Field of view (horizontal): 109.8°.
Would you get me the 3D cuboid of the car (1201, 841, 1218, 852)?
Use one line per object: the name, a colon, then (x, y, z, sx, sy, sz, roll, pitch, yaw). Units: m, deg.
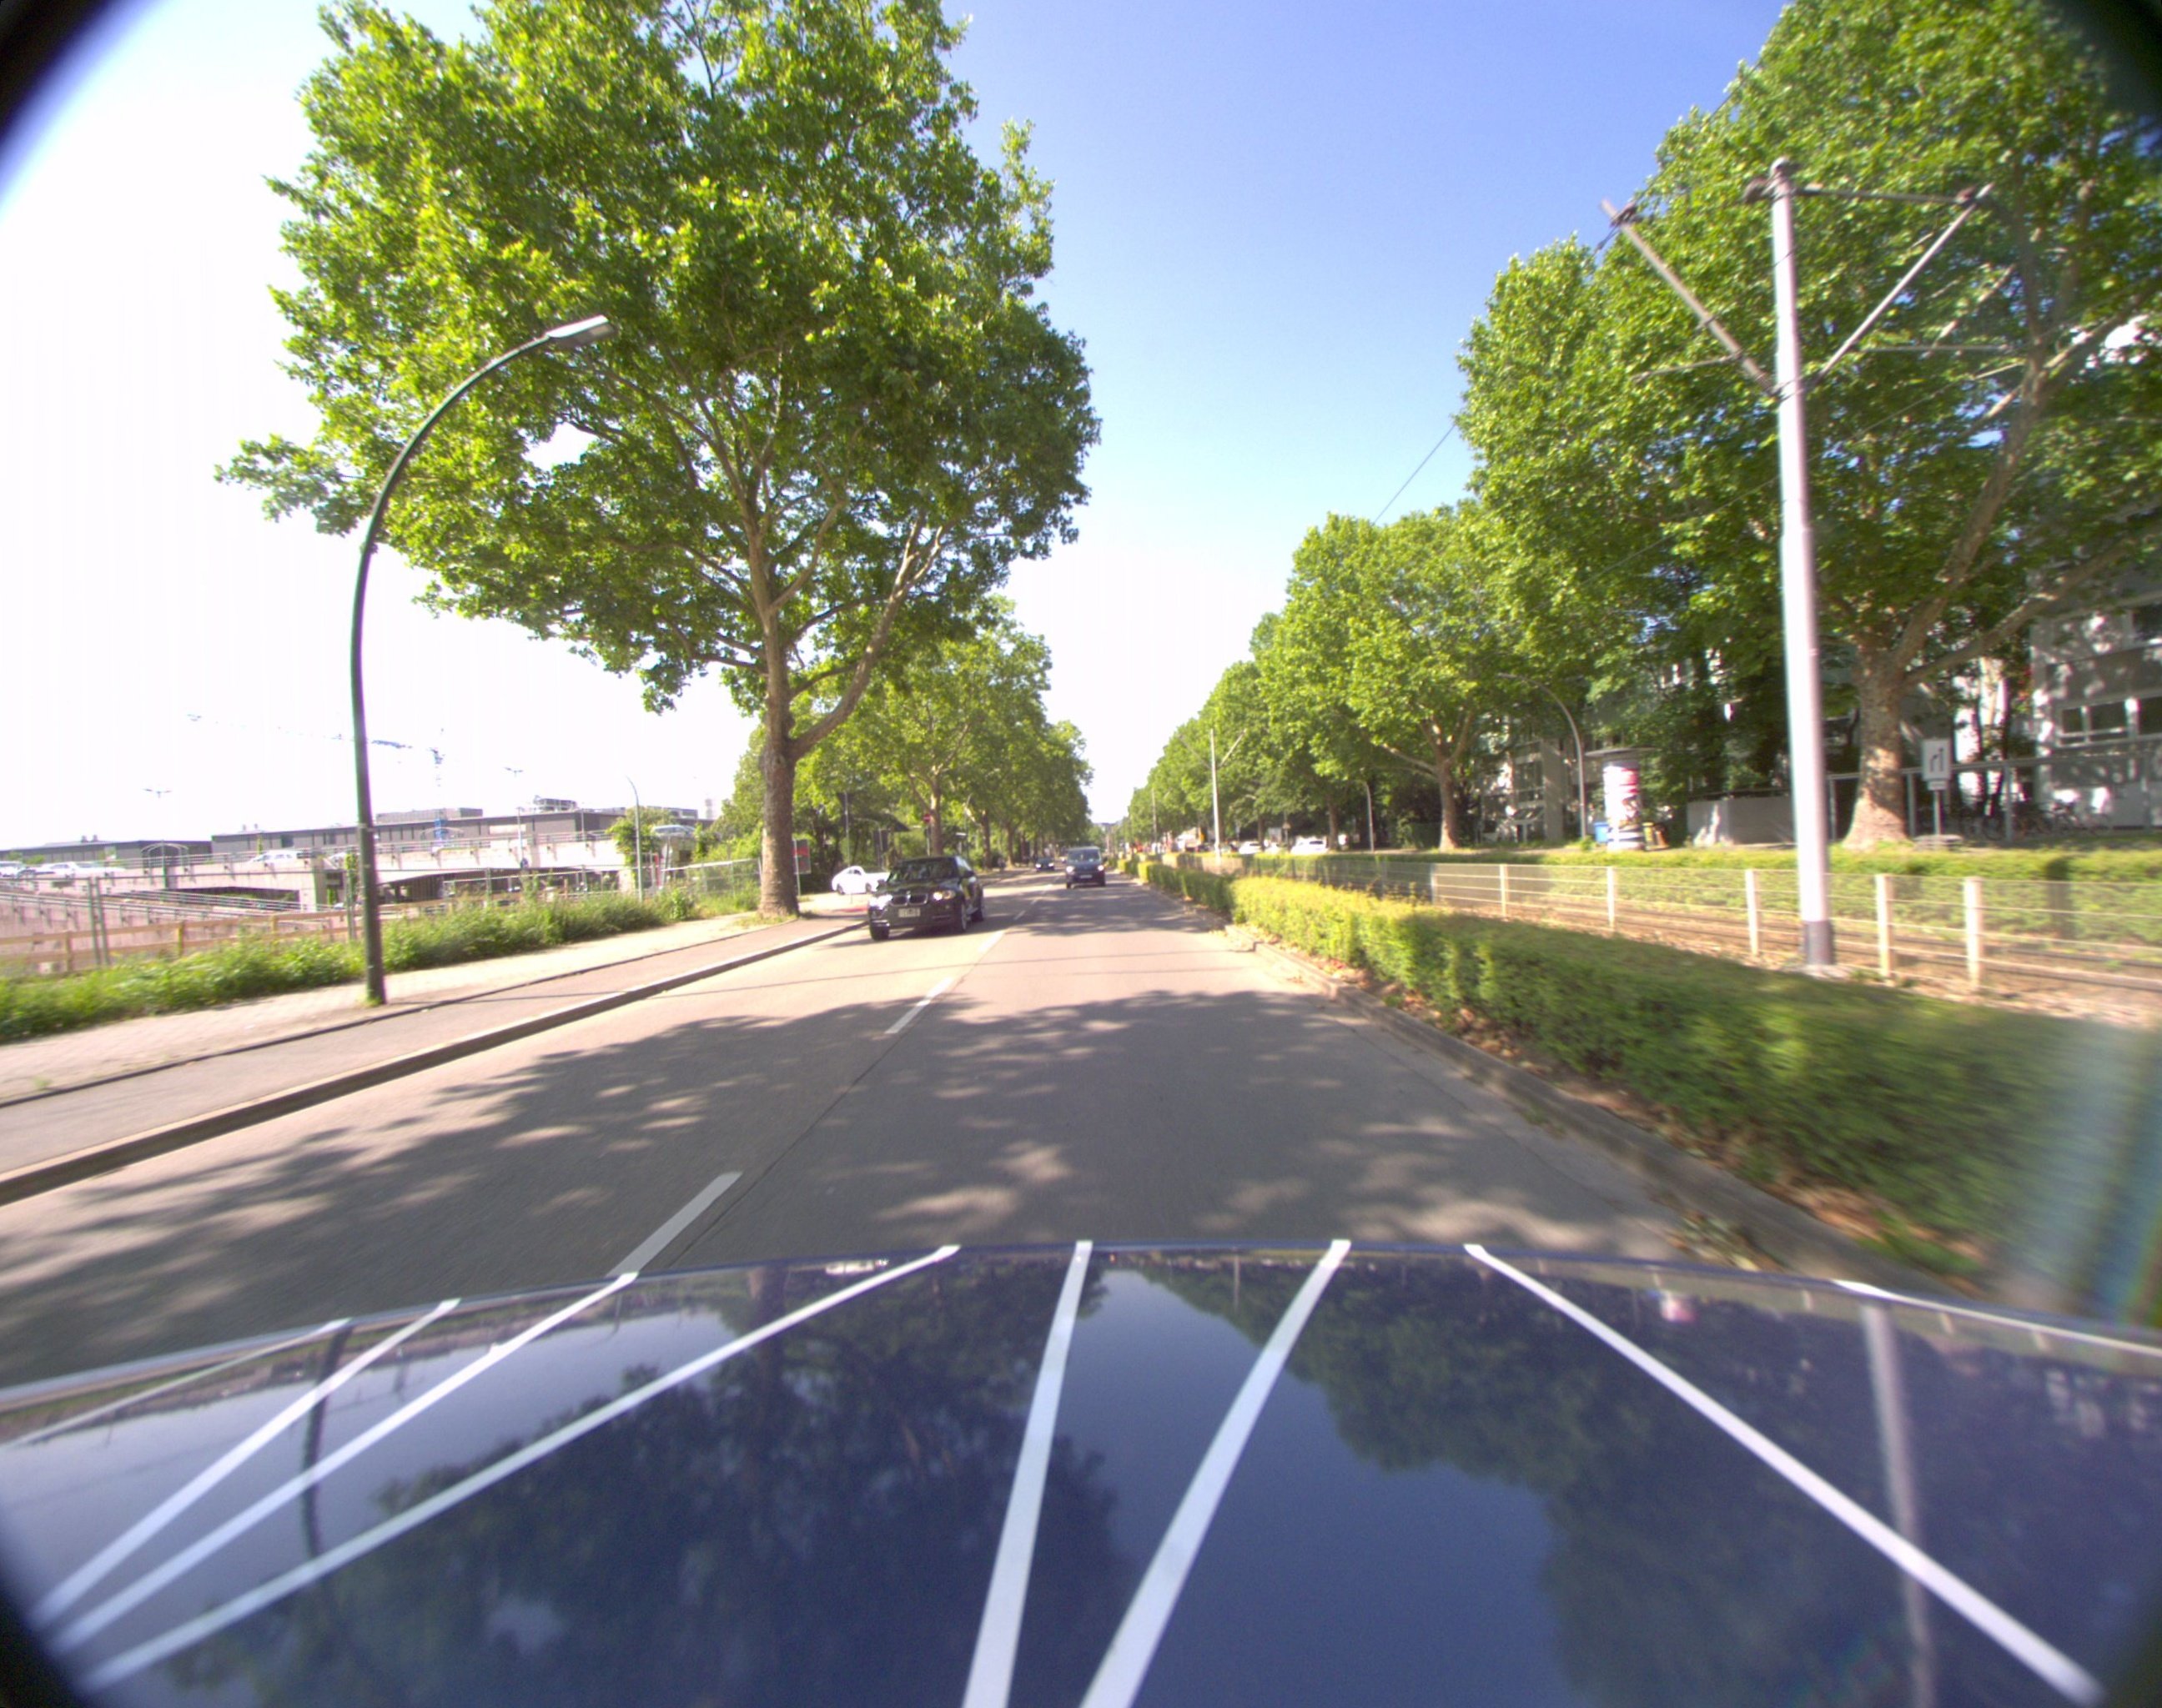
car: (18.707, -1.036, 110.340, 1.752, 1.445, 3.865, -4, 0, 0)

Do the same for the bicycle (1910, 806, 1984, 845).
bicycle: (27.033, -0.887, 23.720, 1.770, 1.096, 0.422, -4, 1, 0)

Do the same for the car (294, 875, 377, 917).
car: (-54.044, 3.037, 55.114, 3.997, 2.723, 1.808, -4, 1, -1)

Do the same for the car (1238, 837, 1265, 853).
car: (17.893, -0.948, 79.705, 1.860, 1.445, 4.000, -4, 0, 0)

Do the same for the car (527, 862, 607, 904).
car: (-37.292, 2.105, 55.242, 4.375, 2.723, 1.808, -4, 1, -1)

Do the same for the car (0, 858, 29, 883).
car: (-71.014, 1.144, 48.878, 3.997, 1.501, 1.808, -4, 0, -1)

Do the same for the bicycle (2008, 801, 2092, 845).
bicycle: (27.163, -0.873, 21.313, 1.770, 1.096, 0.422, -4, 1, 0)

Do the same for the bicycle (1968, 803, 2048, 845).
bicycle: (27.166, -0.882, 22.274, 1.770, 1.096, 0.422, -4, 1, 0)

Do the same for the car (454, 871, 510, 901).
car: (-59.749, 3.177, 75.847, 3.997, 2.723, 1.808, -4, 1, -1)

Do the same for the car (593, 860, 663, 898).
car: (-37.083, 2.030, 62.272, 4.375, 2.723, 1.808, -4, 1, -1)

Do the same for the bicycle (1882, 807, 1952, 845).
bicycle: (27.080, -0.898, 24.620, 1.770, 1.096, 0.422, -4, 1, 0)

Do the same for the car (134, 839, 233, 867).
car: (-57.486, -0.046, 48.717, 3.997, 1.501, 1.808, -4, 0, -1)

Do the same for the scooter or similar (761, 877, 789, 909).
scooter or similar: (-11.369, 1.440, 28.281, 0.483, 1.115, 1.128, -4, 1, 2)

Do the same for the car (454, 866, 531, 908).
car: (-42.850, 2.401, 55.355, 3.997, 2.723, 1.808, -4, 1, -1)

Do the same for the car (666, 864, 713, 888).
car: (-42.645, 2.354, 82.734, 3.997, 2.309, 1.808, -4, 1, -1)

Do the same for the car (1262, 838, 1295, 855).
car: (17.984, -0.663, 69.341, 1.856, 1.445, 4.000, -4, 0, 0)

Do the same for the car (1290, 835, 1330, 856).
car: (17.132, -0.597, 57.015, 1.820, 1.482, 3.912, -2, 0, 0)

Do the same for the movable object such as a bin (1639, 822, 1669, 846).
movable object such as a bin: (25.729, -0.887, 34.123, 0.898, 1.031, 0.546, -4, 1, 0)

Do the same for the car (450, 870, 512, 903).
car: (-54.487, 2.939, 69.033, 3.997, 2.723, 1.808, -4, 1, -1)

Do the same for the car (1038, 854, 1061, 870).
car: (-3.124, 0.757, 75.529, 1.854, 1.419, 4.152, -4, 1, 3)

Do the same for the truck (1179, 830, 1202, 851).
truck: (17.918, -2.143, 124.496, 2.751, 3.259, 6.540, -4, 0, 0)

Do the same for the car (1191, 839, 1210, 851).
car: (15.865, -1.200, 101.048, 1.701, 1.406, 3.892, -6, 0, 0)

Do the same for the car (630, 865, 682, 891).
car: (-42.542, 2.407, 76.073, 3.997, 2.309, 1.808, -4, 1, -1)

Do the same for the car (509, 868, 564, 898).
car: (-54.432, 2.874, 75.963, 3.997, 2.723, 1.808, -4, 1, -1)

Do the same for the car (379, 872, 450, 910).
car: (-54.493, 3.000, 62.147, 3.997, 2.723, 1.808, -4, 1, -1)

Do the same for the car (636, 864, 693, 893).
car: (-37.246, 2.178, 68.035, 3.997, 2.309, 1.808, -4, 1, -1)

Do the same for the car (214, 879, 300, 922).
car: (-59.809, 3.364, 55.217, 3.997, 2.723, 1.808, -4, 1, -1)

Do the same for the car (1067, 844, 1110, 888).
car: (0.406, 0.514, 35.423, 1.789, 1.840, 4.000, -3, 1, 3)

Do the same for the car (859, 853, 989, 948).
car: (-3.384, 0.927, 17.227, 1.924, 1.720, 4.151, -5, 1, 0)

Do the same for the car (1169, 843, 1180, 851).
car: (18.263, -1.366, 148.718, 1.752, 1.445, 3.865, -4, 0, 0)

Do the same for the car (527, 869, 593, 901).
car: (-42.710, 2.539, 62.301, 3.997, 2.309, 1.808, -4, 1, -1)

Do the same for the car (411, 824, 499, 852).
car: (-40.037, -1.037, 48.678, 3.997, 1.501, 1.808, -4, 0, -1)

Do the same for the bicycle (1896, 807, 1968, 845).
bicycle: (27.042, -0.891, 24.159, 1.770, 1.096, 0.422, -4, 1, 0)

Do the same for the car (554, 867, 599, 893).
car: (-59.637, 3.046, 89.869, 3.997, 2.723, 1.808, -4, 1, -1)

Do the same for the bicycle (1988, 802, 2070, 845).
bicycle: (27.170, -0.878, 21.776, 1.770, 1.096, 0.422, -4, 1, 0)

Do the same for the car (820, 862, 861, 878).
car: (-27.128, 1.850, 85.716, 3.997, 1.501, 1.808, -4, 0, -1)

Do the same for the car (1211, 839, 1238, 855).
car: (14.201, -0.703, 75.538, 1.860, 1.445, 4.000, -4, 0, 0)

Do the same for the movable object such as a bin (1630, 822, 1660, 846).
movable object such as a bin: (25.745, -0.893, 34.688, 0.898, 1.031, 0.546, -4, 1, 0)

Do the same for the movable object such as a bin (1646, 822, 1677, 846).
movable object such as a bin: (25.655, -0.878, 33.569, 0.898, 1.031, 0.546, -4, 1, 0)

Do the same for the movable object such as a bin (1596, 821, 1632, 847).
movable object such as a bin: (25.754, -0.946, 36.717, 0.898, 1.182, 1.099, -4, 1, 0)

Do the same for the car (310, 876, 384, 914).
car: (-59.804, 3.304, 61.959, 3.997, 2.723, 1.808, -4, 1, -1)

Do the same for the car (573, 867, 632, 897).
car: (-42.682, 2.488, 67.855, 3.997, 2.309, 1.808, -4, 1, -1)

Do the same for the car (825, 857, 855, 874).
car: (-37.218, 1.737, 117.384, 3.997, 2.309, 1.808, -4, 1, -1)

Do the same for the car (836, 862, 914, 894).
car: (-10.527, 1.253, 38.670, 3.989, 1.400, 1.900, -3, 1, 42)
